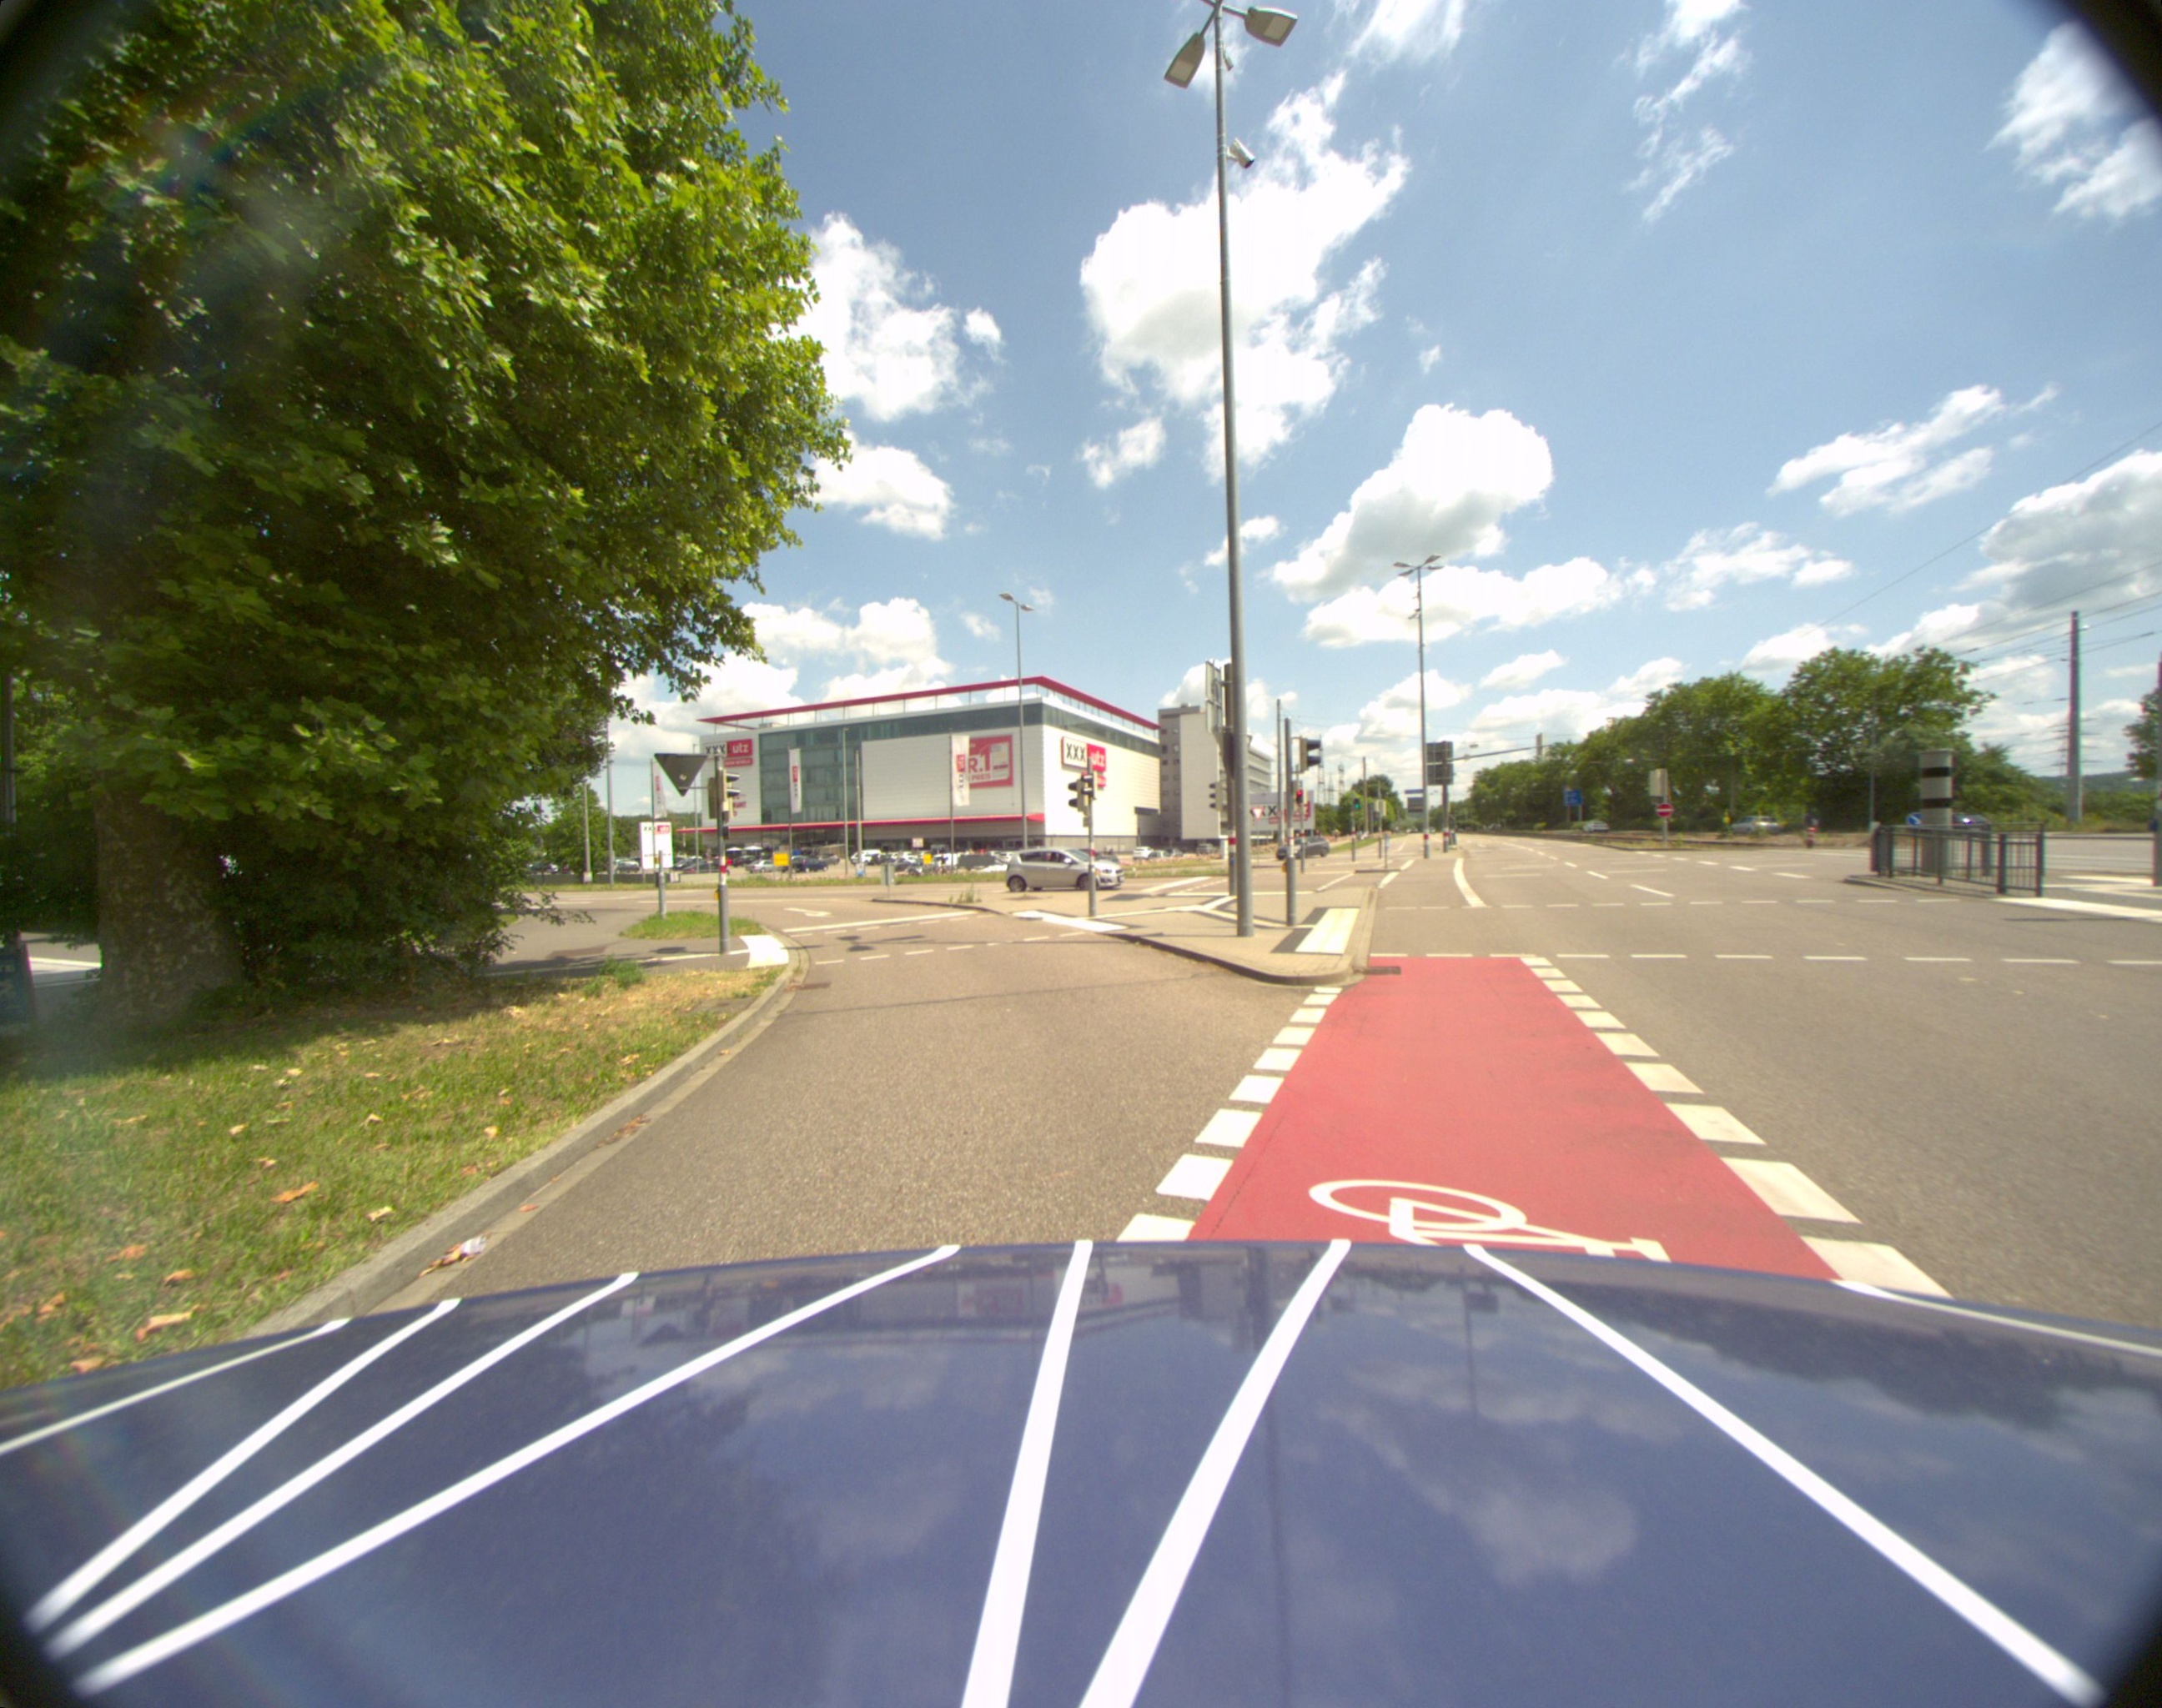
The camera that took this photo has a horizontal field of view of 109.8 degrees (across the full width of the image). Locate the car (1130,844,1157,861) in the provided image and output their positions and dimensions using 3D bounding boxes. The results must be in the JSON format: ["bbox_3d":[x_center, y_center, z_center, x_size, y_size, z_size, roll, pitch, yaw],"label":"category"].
[{"bbox_3d":[7.596,-0.221,91.862,1.995,1.977,4.369,-1,0,23],"label":"car"}]

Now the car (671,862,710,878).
[{"bbox_3d":[-52.513,2.116,102.366,1.987,2.031,4.307,-1,0,23],"label":"car"}]

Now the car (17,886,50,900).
[{"bbox_3d":[-131.679,4.895,95.501,4.160,1.635,1.800,-2,0,27],"label":"car"}]

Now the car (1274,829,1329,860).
[{"bbox_3d":[14.853,-0.644,51.104,1.994,2.002,4.008,-2,0,40],"label":"car"}]

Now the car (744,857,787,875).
[{"bbox_3d":[-36.826,1.380,88.794,1.995,1.977,4.369,-1,0,23],"label":"car"}]

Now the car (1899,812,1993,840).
[{"bbox_3d":[48.660,-1.546,42.866,1.667,1.401,3.896,-2,1,16],"label":"car"}]

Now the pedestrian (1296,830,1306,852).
[{"bbox_3d":[18.287,-1.054,63.262,0.595,1.800,0.536,-2,1,34],"label":"pedestrian"}]

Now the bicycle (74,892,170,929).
[{"bbox_3d":[-31.046,1.809,24.633,0.423,1.028,1.871,-2,0,26],"label":"bicycle"}]

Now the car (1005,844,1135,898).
[{"bbox_3d":[-0.355,0.576,25.534,3.825,1.461,1.902,-4,2,22],"label":"car"}]

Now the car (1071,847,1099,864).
[{"bbox_3d":[0.540,0.133,95.352,1.995,1.977,4.369,-1,0,23],"label":"car"}]

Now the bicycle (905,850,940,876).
[{"bbox_3d":[-10.793,0.600,51.838,2.043,1.665,1.022,-2,0,24],"label":"bicycle"}]

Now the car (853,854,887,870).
[{"bbox_3d":[-28.307,1.031,102.112,1.995,1.977,4.369,-1,0,23],"label":"car"}]

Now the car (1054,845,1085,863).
[{"bbox_3d":[-1.361,-0.025,90.145,1.995,1.977,4.634,-1,0,22],"label":"car"}]

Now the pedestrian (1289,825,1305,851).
[{"bbox_3d":[16.134,-1.204,56.690,0.867,1.828,0.797,-3,3,-4],"label":"pedestrian"}]

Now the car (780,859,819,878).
[{"bbox_3d":[-32.318,1.621,87.304,1.838,1.978,4.090,-1,2,23],"label":"car"}]

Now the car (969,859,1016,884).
[{"bbox_3d":[-7.448,1.453,64.378,1.995,1.977,4.369,-1,0,23],"label":"car"}]

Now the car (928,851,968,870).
[{"bbox_3d":[-14.019,0.673,80.126,1.995,1.829,4.369,-1,0,23],"label":"car"}]

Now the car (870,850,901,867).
[{"bbox_3d":[-25.965,0.579,100.890,1.773,2.002,4.006,-2,1,24],"label":"car"}]

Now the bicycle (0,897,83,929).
[{"bbox_3d":[-36.577,2.063,26.649,0.423,0.989,1.871,0,-1,20],"label":"bicycle"}]

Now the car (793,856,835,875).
[{"bbox_3d":[-30.197,1.274,86.140,1.995,1.978,4.369,-1,2,23],"label":"car"}]

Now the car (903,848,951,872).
[{"bbox_3d":[-13.782,0.502,68.081,1.995,1.977,4.369,-1,0,23],"label":"car"}]

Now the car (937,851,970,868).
[{"bbox_3d":[-15.803,0.692,94.452,1.995,1.977,4.092,-1,0,23],"label":"car"}]

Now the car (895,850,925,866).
[{"bbox_3d":[-23.763,0.581,105.741,1.995,2.002,4.006,-2,1,24],"label":"car"}]

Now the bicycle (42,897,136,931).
[{"bbox_3d":[-33.404,2.014,25.613,0.423,0.989,1.870,0,1,20],"label":"bicycle"}]

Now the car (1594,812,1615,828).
[{"bbox_3d":[63.606,-4.068,92.240,1.994,1.797,5.144,-1,1,35],"label":"car"}]

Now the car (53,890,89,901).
[{"bbox_3d":[-120.517,4.948,90.644,4.296,1.243,1.800,-2,0,26],"label":"car"}]

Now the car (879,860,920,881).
[{"bbox_3d":[-19.219,1.728,80.599,1.995,1.977,4.369,-1,0,23],"label":"car"}]

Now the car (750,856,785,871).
[{"bbox_3d":[-44.854,1.297,108.896,1.995,1.977,4.369,-1,0,23],"label":"car"}]

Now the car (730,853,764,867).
[{"bbox_3d":[-48.785,0.832,111.007,1.995,1.977,4.369,-1,0,23],"label":"car"}]

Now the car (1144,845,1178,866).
[{"bbox_3d":[7.870,0.129,74.427,1.995,1.977,4.369,-1,0,23],"label":"car"}]

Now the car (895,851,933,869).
[{"bbox_3d":[-19.046,0.640,86.782,1.995,1.978,4.369,0,1,23],"label":"car"}]

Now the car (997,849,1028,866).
[{"bbox_3d":[-8.322,0.429,92.625,1.995,1.977,4.092,-1,0,23],"label":"car"}]

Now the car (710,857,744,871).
[{"bbox_3d":[-53.125,1.501,114.069,1.995,1.977,4.369,-1,0,23],"label":"car"}]

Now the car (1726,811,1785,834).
[{"bbox_3d":[54.169,-2.491,61.126,1.809,1.649,4.327,3,2,17],"label":"car"}]

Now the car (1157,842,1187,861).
[{"bbox_3d":[10.280,-0.275,85.556,2.244,1.977,4.369,-1,0,23],"label":"car"}]

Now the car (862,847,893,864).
[{"bbox_3d":[-29.763,0.193,111.305,1.865,2.293,4.578,-1,1,23],"label":"car"}]

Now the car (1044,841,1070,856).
[{"bbox_3d":[-3.388,-0.831,107.566,1.995,1.977,4.093,-1,0,25],"label":"car"}]

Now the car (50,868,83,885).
[{"bbox_3d":[-130.606,2.883,97.827,3.567,2.031,1.866,-2,0,27],"label":"car"}]

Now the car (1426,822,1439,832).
[{"bbox_3d":[75.668,-5.867,163.650,1.995,2.002,4.007,-2,0,31],"label":"car"}]
